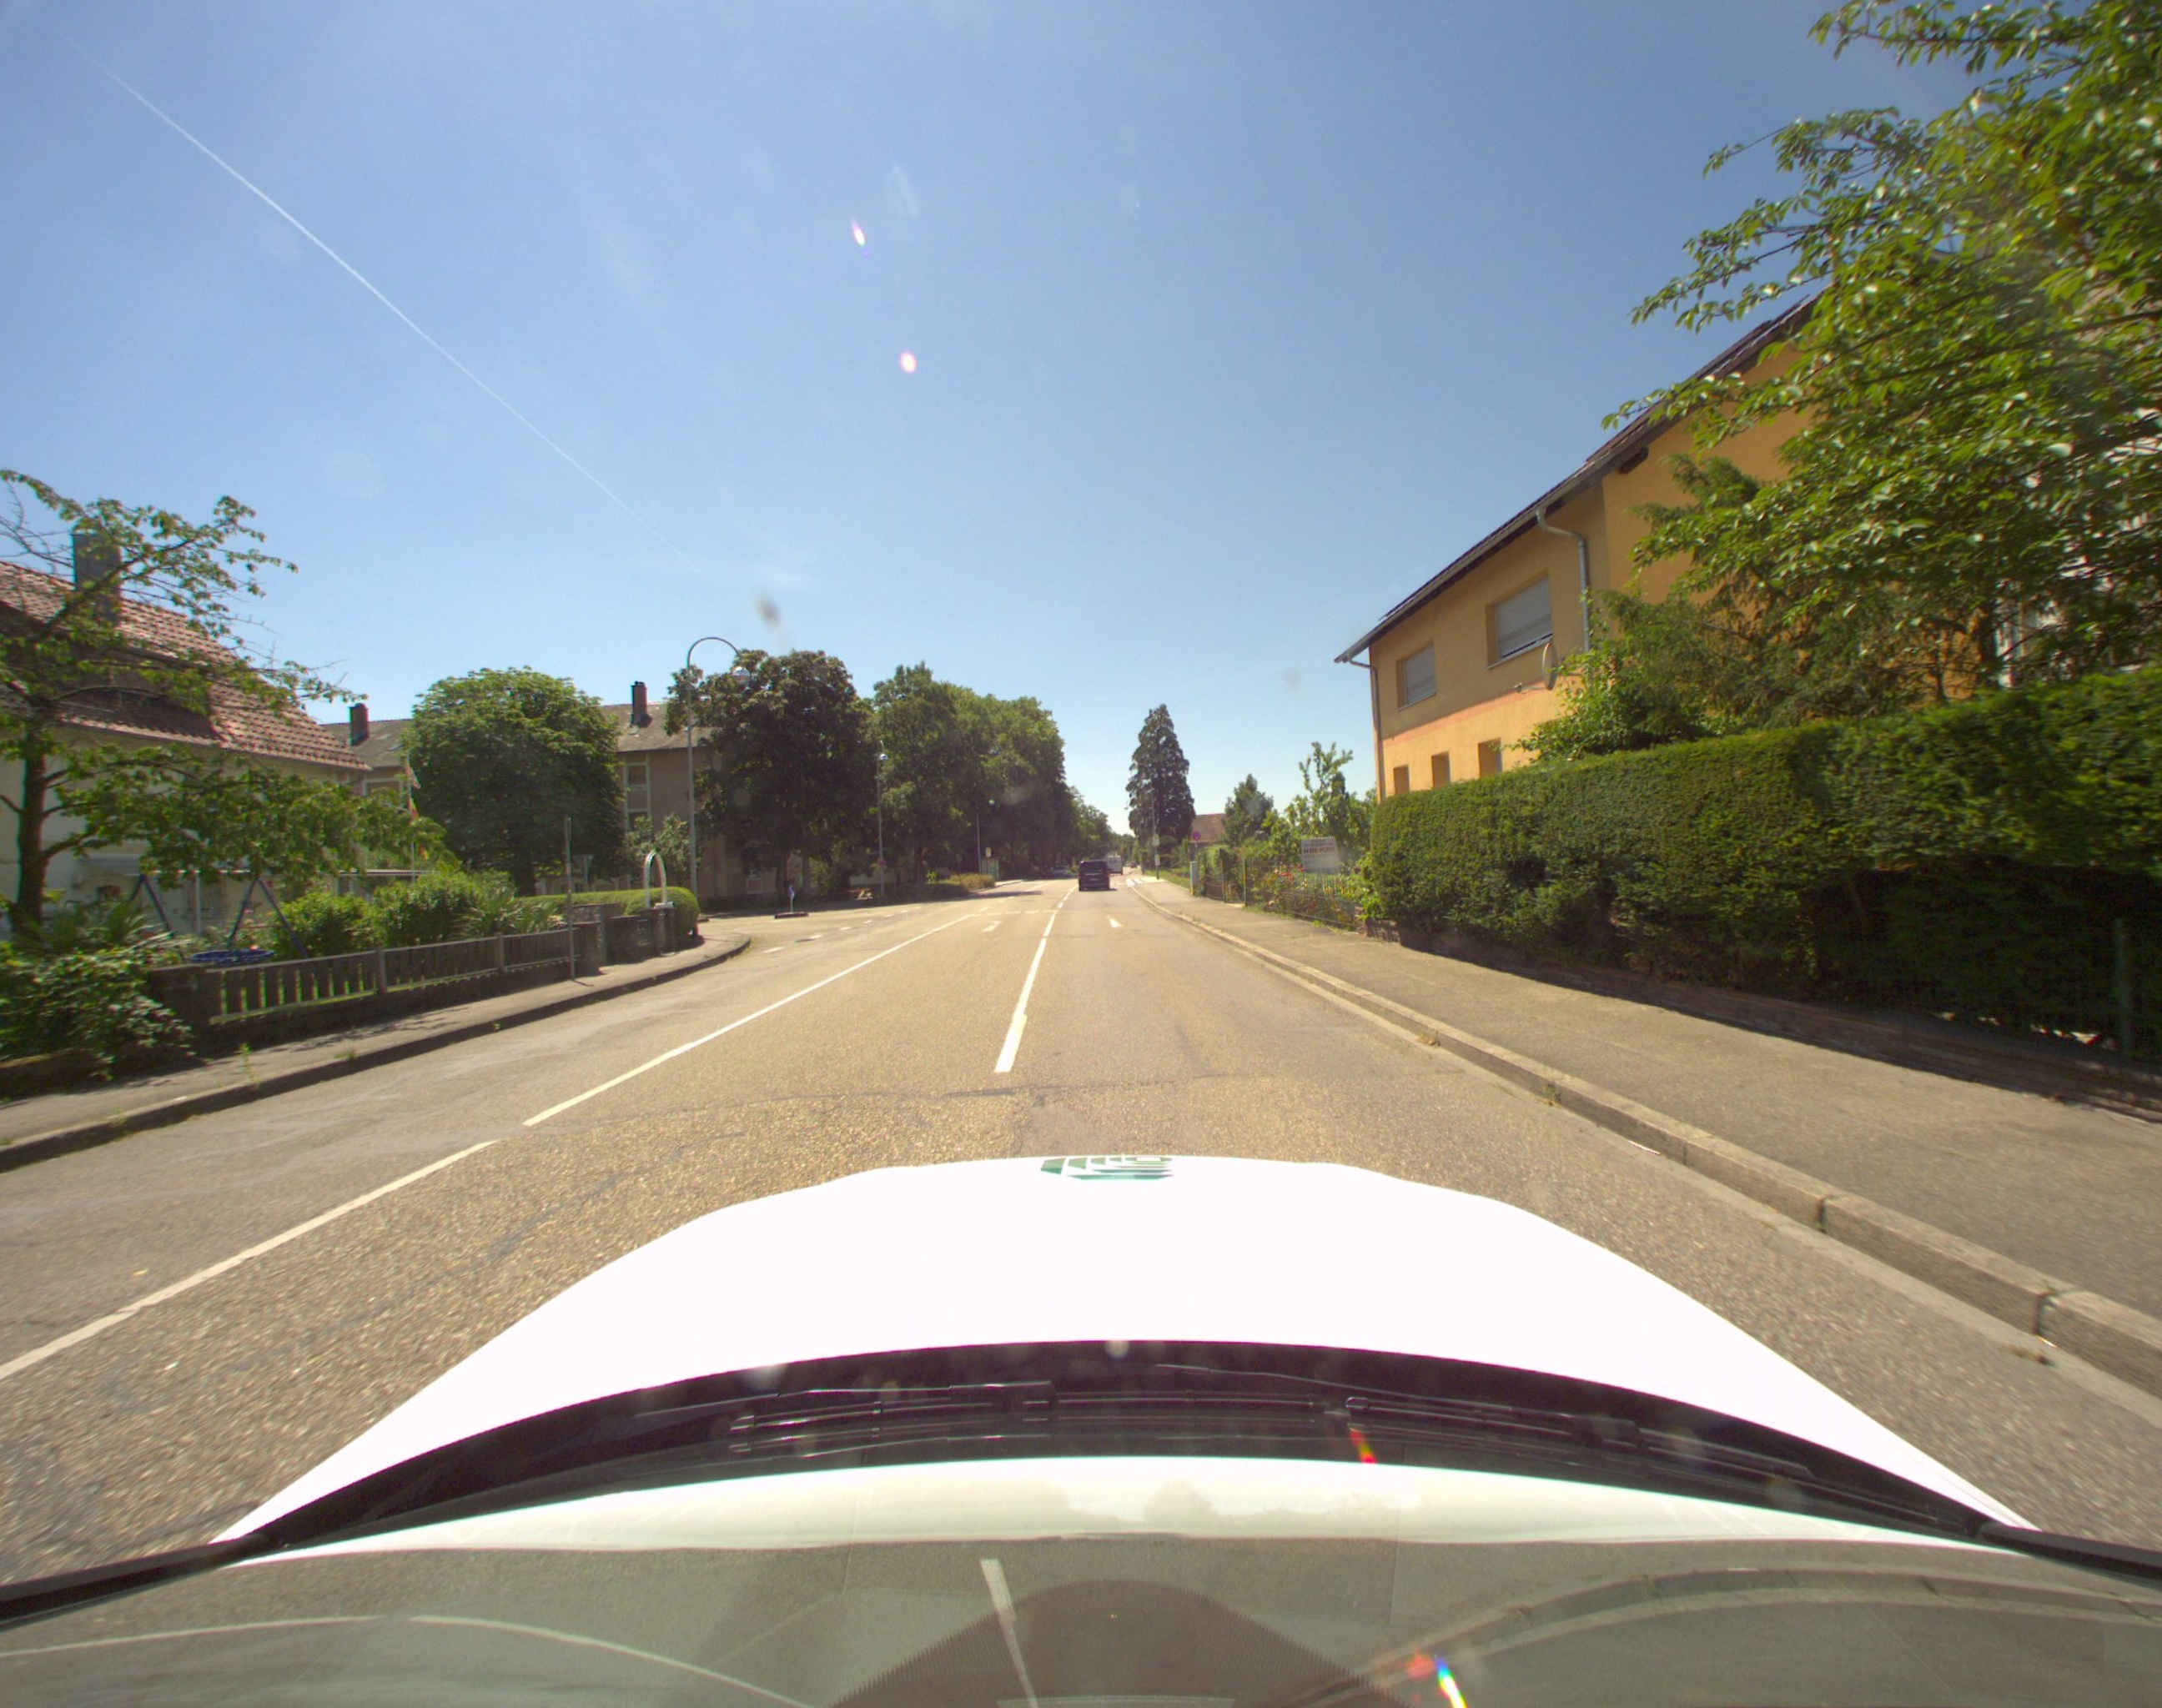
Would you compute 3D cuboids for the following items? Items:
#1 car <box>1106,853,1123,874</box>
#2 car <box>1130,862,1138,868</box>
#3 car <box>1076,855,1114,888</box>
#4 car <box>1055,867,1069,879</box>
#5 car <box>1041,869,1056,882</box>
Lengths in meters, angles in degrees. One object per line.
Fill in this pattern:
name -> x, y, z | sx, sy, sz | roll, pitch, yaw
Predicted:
car -> 4.524, 1.256, 110.744 | 2.113, 2.678, 5.662 | -1, 0, 1
car -> 14.843, 3.167, 227.248 | 1.851, 1.643, 4.000 | -1, 0, 1
car -> 0.880, 1.027, 49.357 | 1.984, 1.893, 4.005 | -1, 0, 5
car -> -2.422, 2.442, 106.271 | 1.685, 1.460, 3.638 | -1, 0, 0
car -> -3.879, 2.587, 98.105 | 1.544, 1.450, 3.692 | -1, -1, 2
